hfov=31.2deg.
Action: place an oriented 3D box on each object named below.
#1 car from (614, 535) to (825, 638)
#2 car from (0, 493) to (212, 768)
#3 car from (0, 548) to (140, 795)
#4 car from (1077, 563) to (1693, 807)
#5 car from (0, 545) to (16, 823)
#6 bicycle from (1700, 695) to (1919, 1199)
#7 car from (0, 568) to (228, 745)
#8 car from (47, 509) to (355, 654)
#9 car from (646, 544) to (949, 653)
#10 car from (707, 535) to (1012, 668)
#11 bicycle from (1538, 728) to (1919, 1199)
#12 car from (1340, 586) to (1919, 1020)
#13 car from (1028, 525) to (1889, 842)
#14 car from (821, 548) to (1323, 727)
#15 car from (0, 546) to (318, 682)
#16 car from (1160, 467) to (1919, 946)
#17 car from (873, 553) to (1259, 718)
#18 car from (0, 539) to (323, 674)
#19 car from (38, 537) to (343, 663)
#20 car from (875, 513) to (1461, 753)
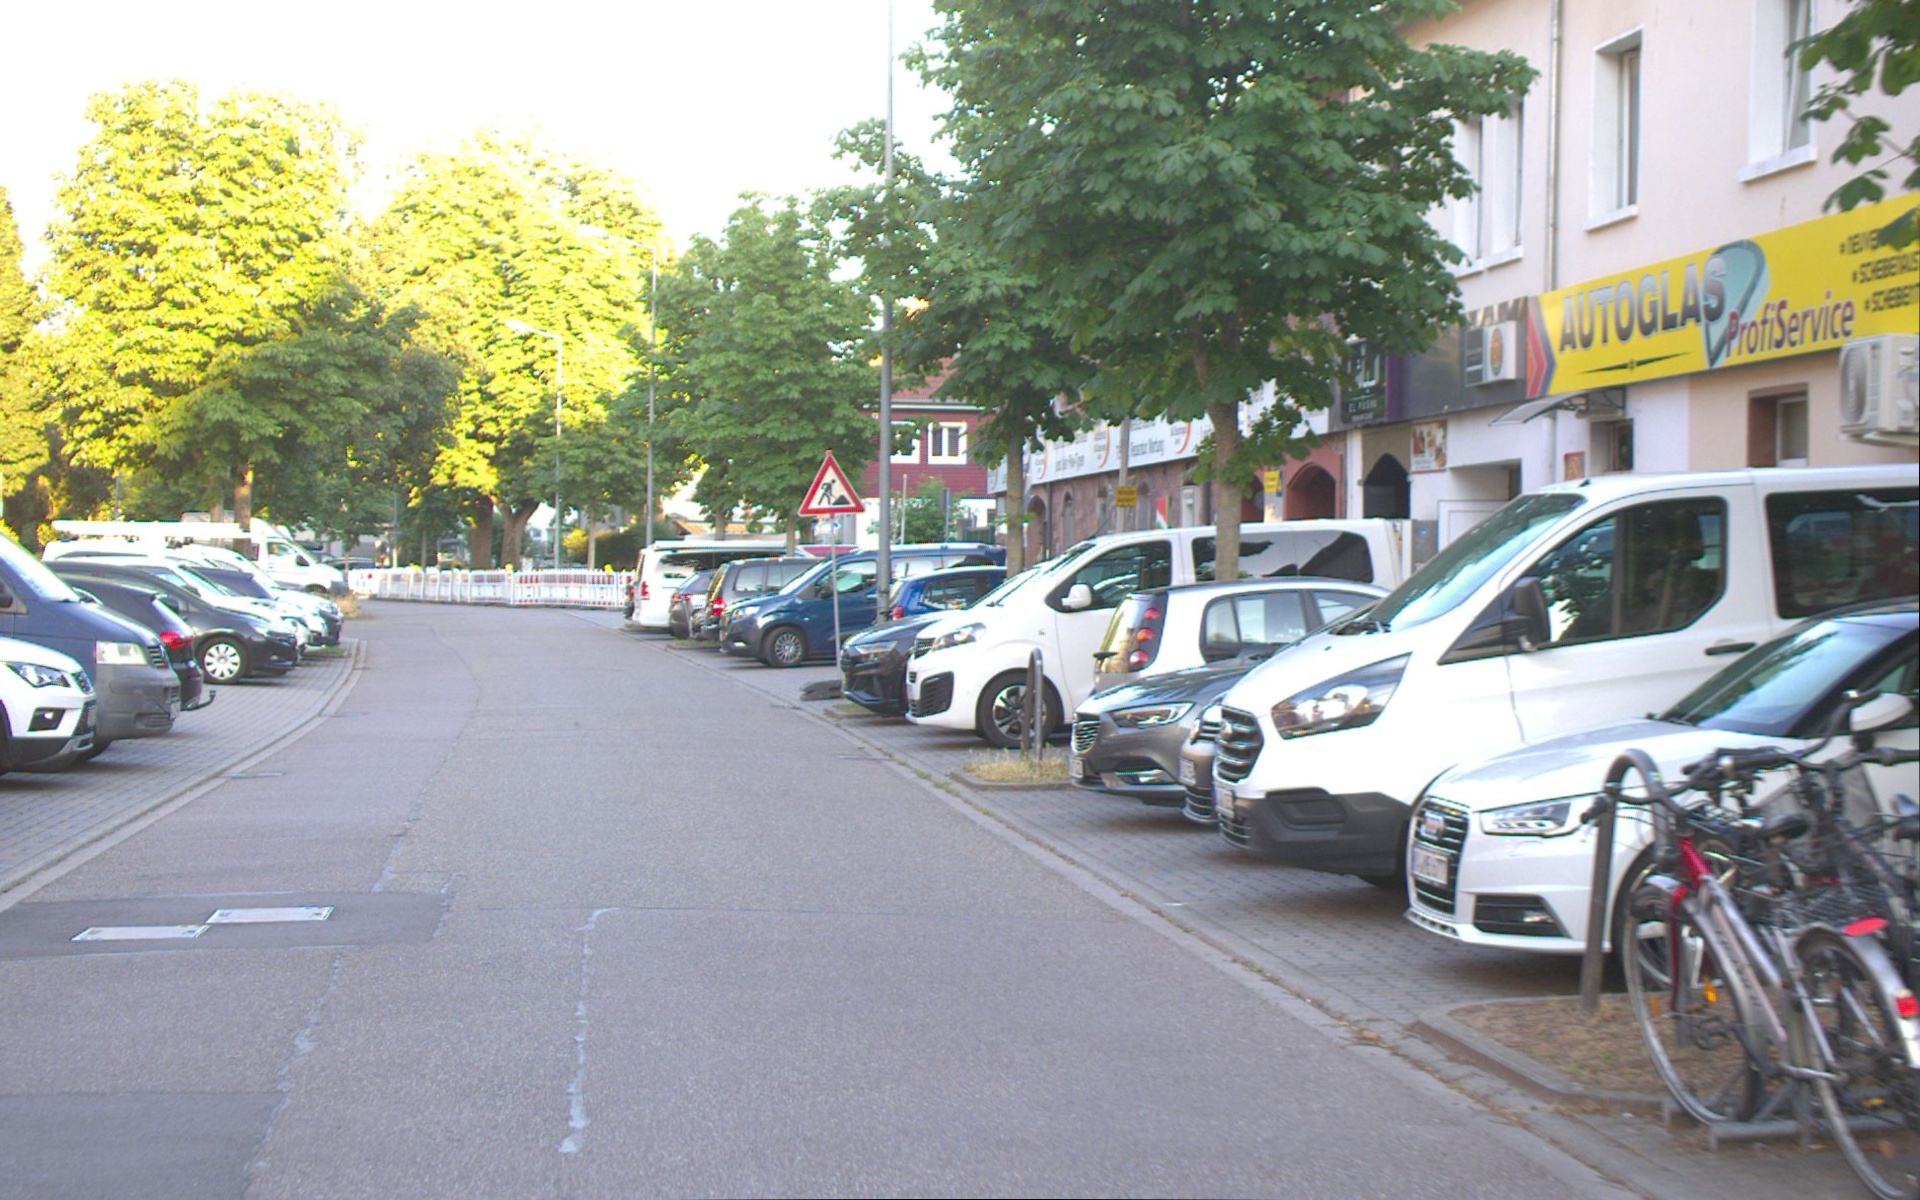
[{"bbox_3d":[-4.826,-0.275,68.703,3.967,1.905,2.050,-2,1,-10],"label":"car"},{"bbox_3d":[-8.358,0.169,26.436,4.849,2.014,1.907,2,0,-6],"label":"car"},{"bbox_3d":[-8.019,0.420,23.903,4.256,1.646,1.888,2,0,-6],"label":"car"},{"bbox_3d":[2.900,0.555,24.022,3.911,1.521,1.939,-2,1,-5],"label":"car"},{"bbox_3d":[-7.742,0.445,19.554,4.256,1.655,2.000,2,0,-6],"label":"car"},{"bbox_3d":[2.448,0.888,8.992,0.385,1.196,2.018,-1,1,-6],"label":"bicycle"},{"bbox_3d":[-8.918,0.457,31.096,4.256,1.500,2.000,2,0,-6],"label":"car"},{"bbox_3d":[-12.026,-0.296,54.724,4.533,2.127,2.000,2,0,-6],"label":"car"},{"bbox_3d":[-2.801,-0.037,58.884,4.943,1.689,1.849,-2,1,-10],"label":"car"},{"bbox_3d":[-1.574,0.010,53.344,4.478,1.905,1.688,-2,1,-10],"label":"car"},{"bbox_3d":[2.051,0.941,8.768,0.438,1.126,2.018,-1,1,-11],"label":"bicycle"},{"bbox_3d":[3.619,0.691,13.277,3.917,1.446,1.769,-2,1,-8],"label":"car"},{"bbox_3d":[3.015,0.478,21.473,4.943,1.736,2.049,-2,1,-5],"label":"car"},{"bbox_3d":[1.121,0.365,36.039,4.943,1.683,2.077,-2,1,-7],"label":"car"},{"bbox_3d":[-10.591,0.167,44.665,4.256,1.616,2.000,2,0,-7],"label":"car"},{"bbox_3d":[3.597,0.414,16.072,4.989,1.976,2.220,-2,1,-5],"label":"car"},{"bbox_3d":[1.228,0.401,40.978,4.316,1.798,1.811,-2,1,-7],"label":"car"},{"bbox_3d":[-11.048,0.080,47.375,4.256,1.709,2.000,2,0,-6],"label":"car"},{"bbox_3d":[-11.606,-0.007,52.116,4.256,1.743,2.000,2,0,-6],"label":"car"},{"bbox_3d":[1.823,0.269,31.110,4.943,1.951,2.050,-2,1,-7],"label":"car"}]
